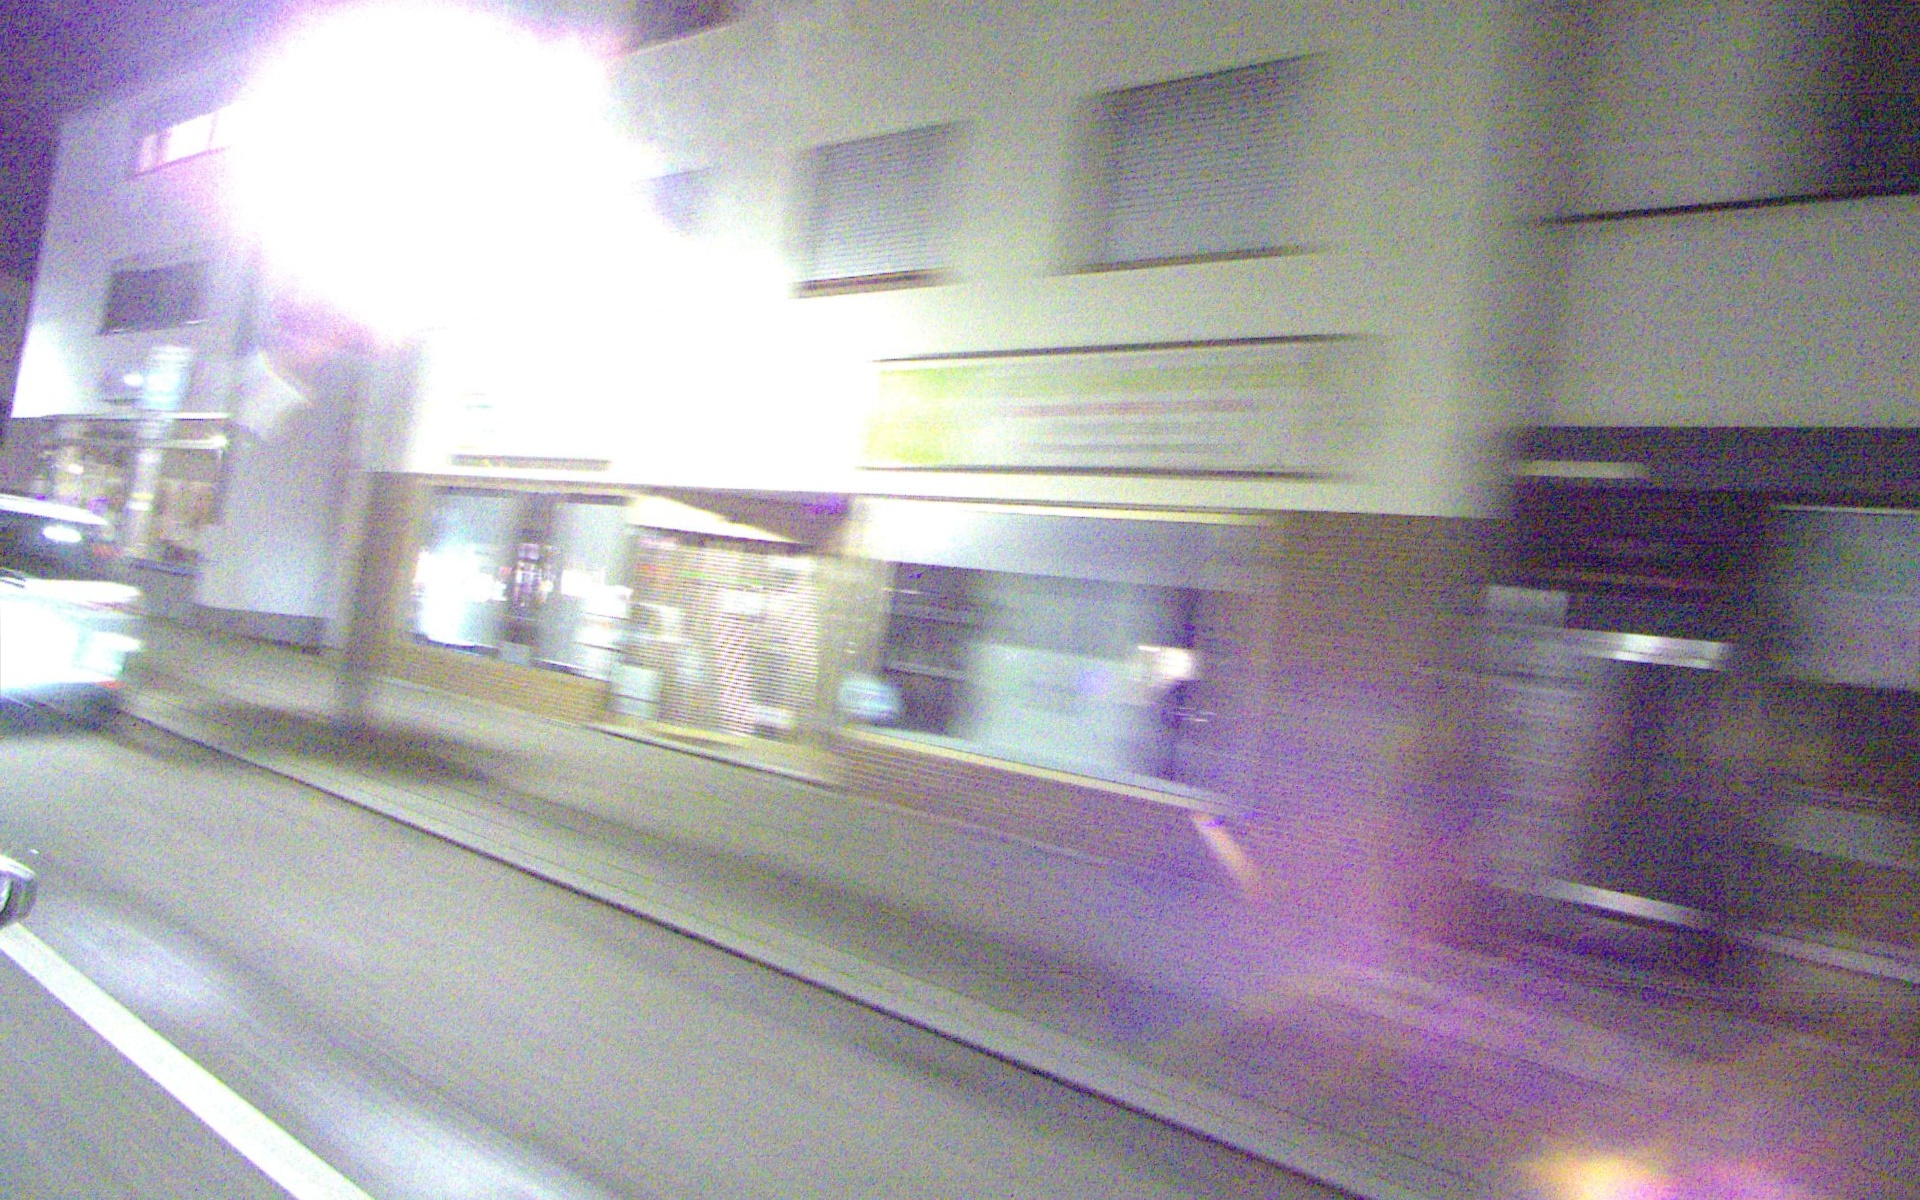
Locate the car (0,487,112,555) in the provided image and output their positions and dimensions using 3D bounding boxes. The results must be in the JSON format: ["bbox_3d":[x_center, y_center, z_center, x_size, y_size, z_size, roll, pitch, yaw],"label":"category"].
[{"bbox_3d":[-24.502,-2.115,25.658,1.722,1.495,3.991,6,1,30],"label":"car"}]

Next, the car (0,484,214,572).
[{"bbox_3d":[-20.125,-1.653,23.341,1.785,1.602,4.081,8,2,29],"label":"car"}]

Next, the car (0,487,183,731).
[{"bbox_3d":[-7.343,-0.102,7.048,3.614,1.476,1.678,6,-2,31],"label":"car"}]
